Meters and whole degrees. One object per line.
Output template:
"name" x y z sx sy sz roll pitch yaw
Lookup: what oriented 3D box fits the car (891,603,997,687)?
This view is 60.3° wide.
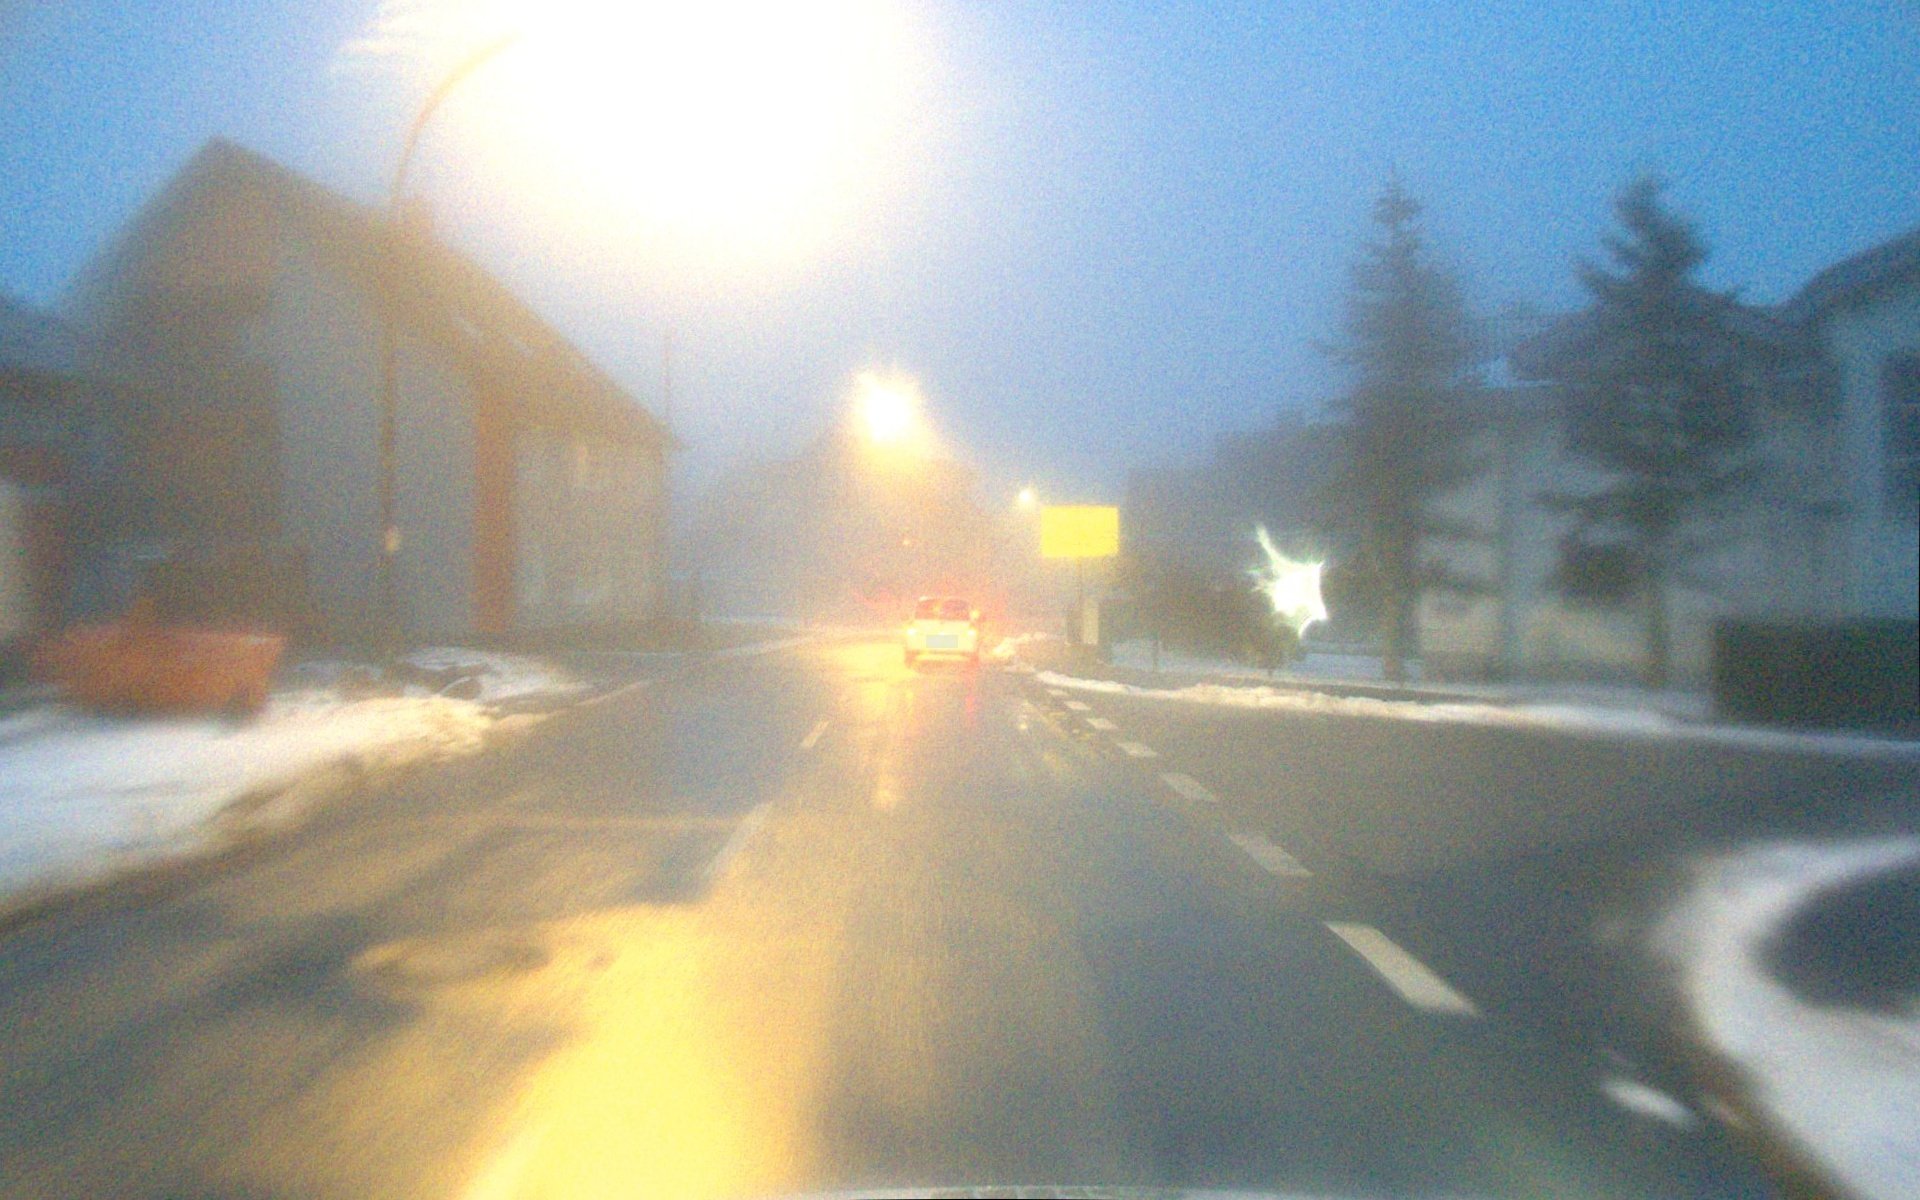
"car" -0.281 0.923 35.910 1.952 1.534 4.003 -2 1 4
